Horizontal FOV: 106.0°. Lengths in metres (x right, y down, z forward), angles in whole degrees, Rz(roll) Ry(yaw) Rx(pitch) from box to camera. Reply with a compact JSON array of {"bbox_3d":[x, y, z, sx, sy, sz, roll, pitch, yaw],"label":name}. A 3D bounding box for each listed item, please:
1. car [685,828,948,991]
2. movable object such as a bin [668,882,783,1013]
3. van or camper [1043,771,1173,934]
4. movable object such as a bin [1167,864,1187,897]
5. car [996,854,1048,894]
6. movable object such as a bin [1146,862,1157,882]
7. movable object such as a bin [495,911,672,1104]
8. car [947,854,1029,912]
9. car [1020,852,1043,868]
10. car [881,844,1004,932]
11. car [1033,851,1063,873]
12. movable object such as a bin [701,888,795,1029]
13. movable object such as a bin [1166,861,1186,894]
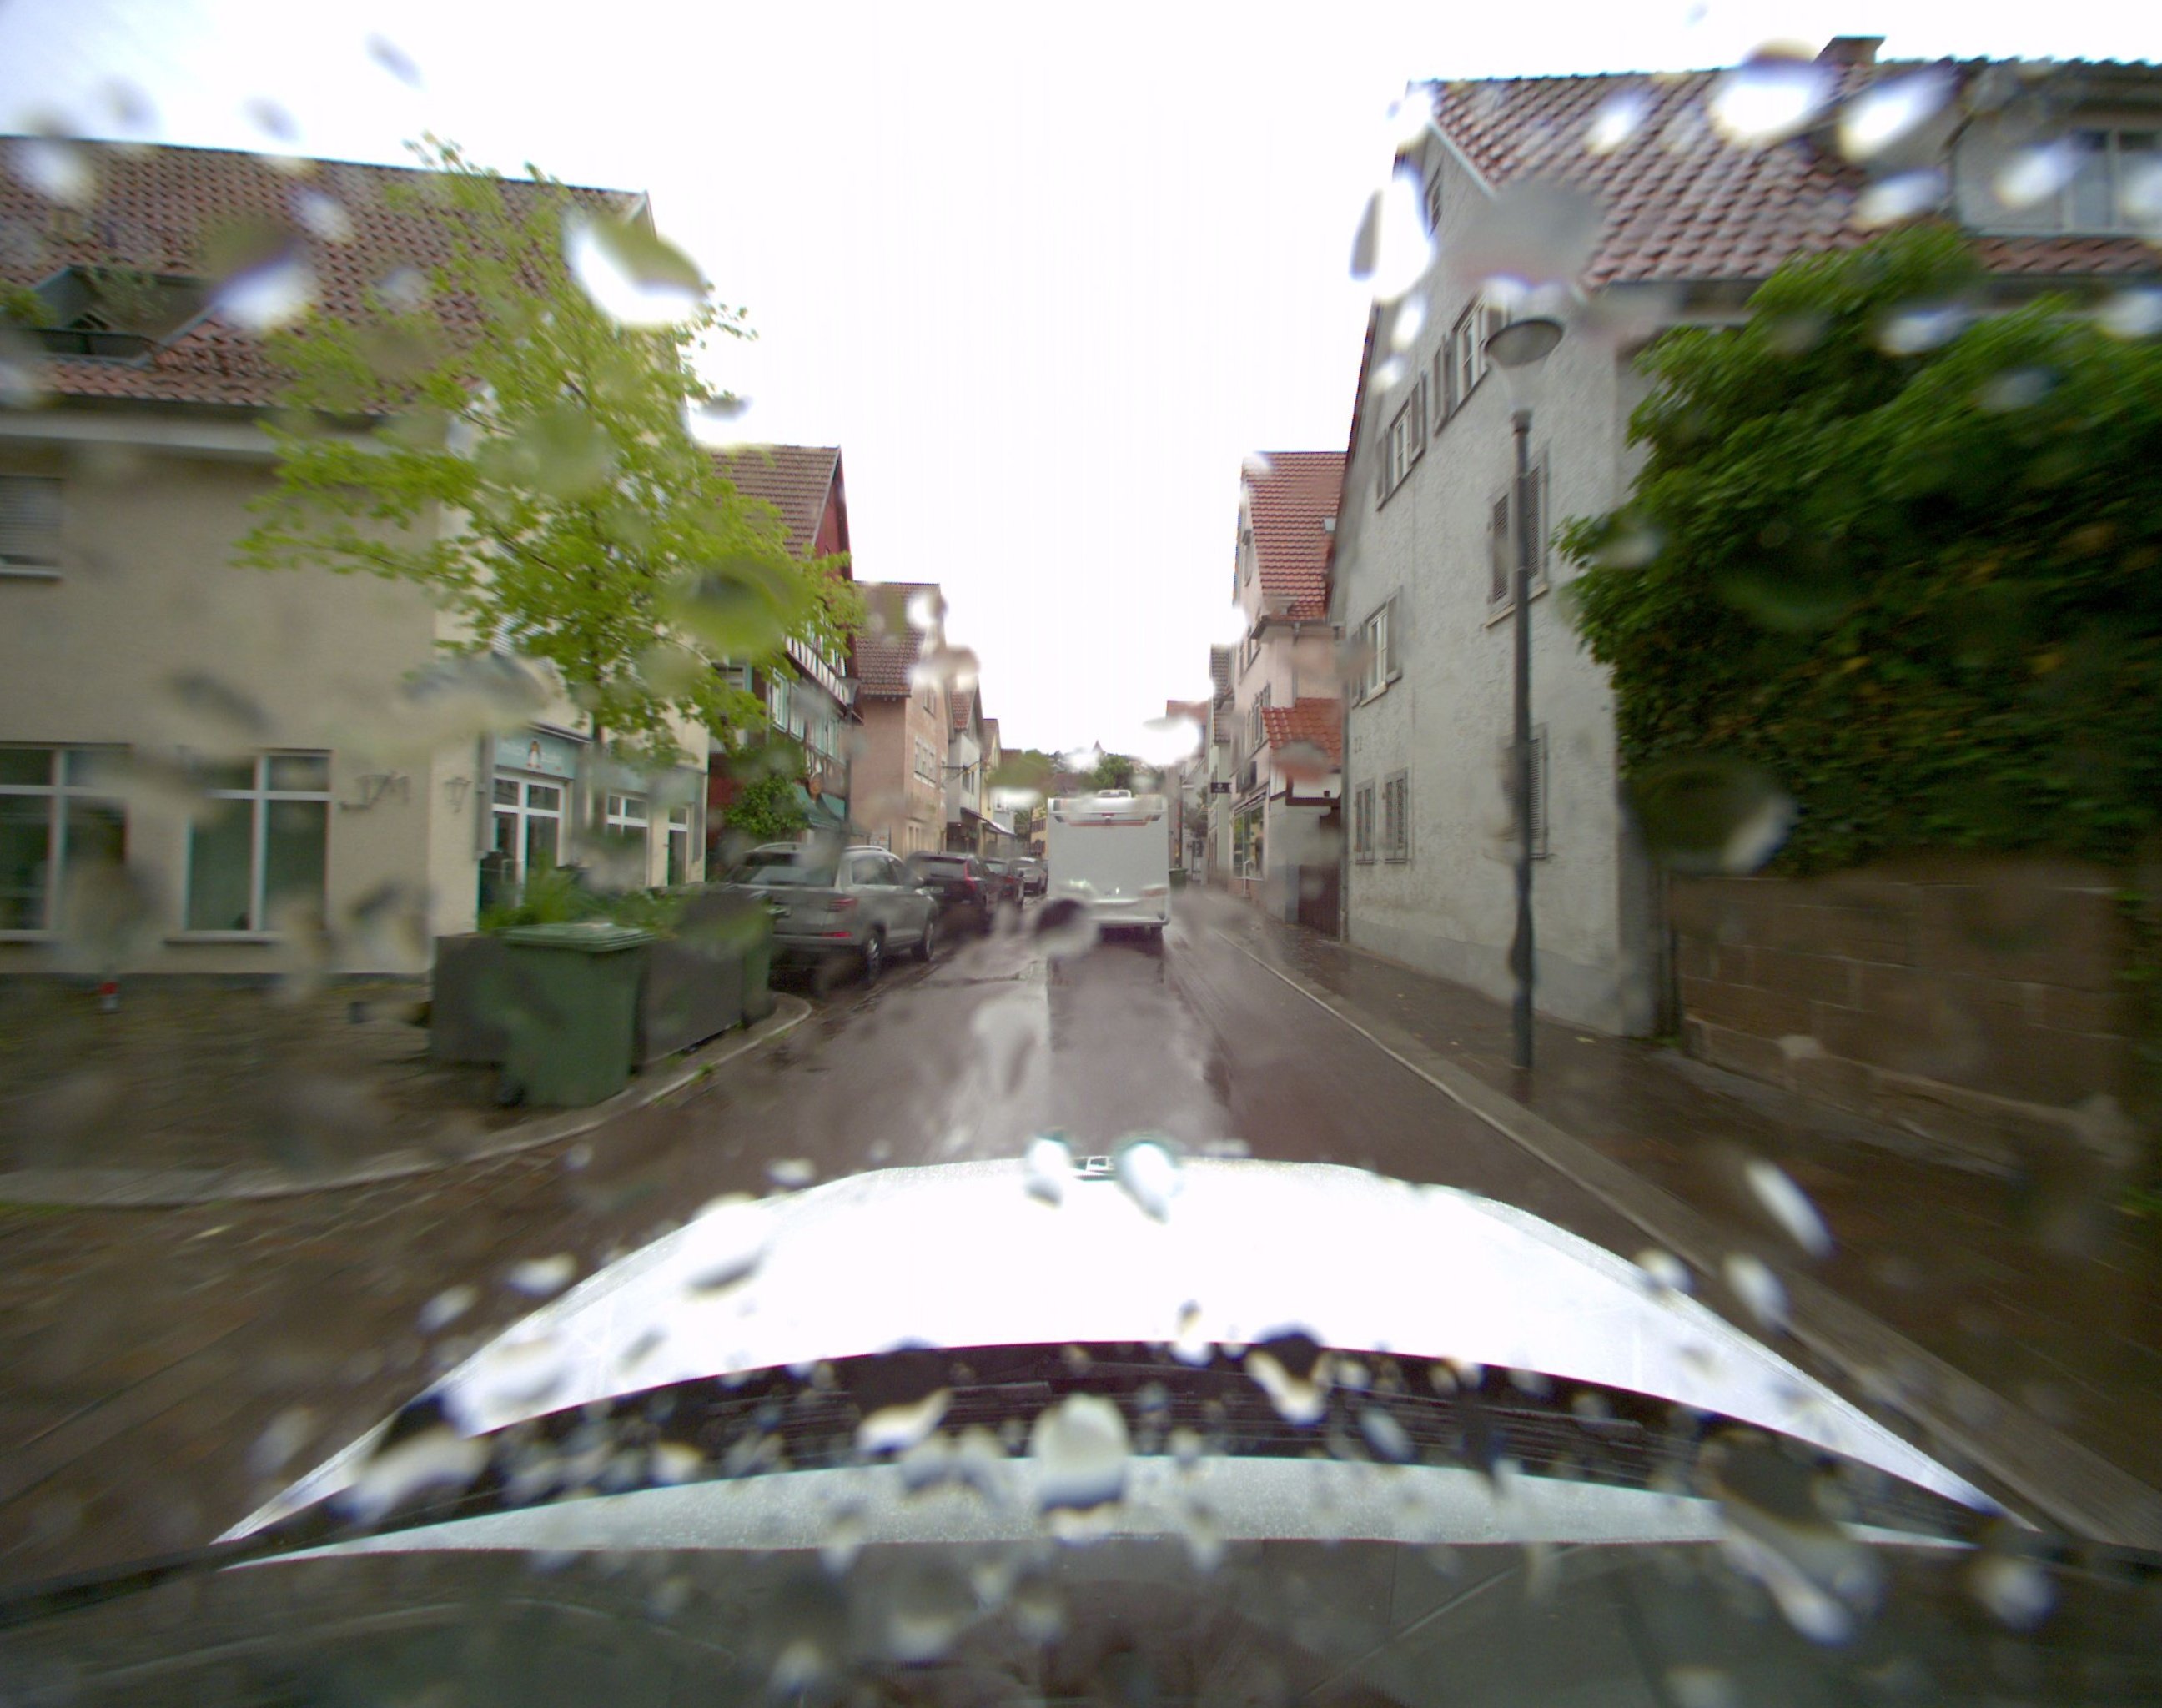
[{"bbox_3d":[-3.177,0.632,10.897,1.764,1.675,4.483,1,-1,3],"label":"car"},{"bbox_3d":[-3.436,0.876,7.927,0.741,1.201,0.749,0,-1,3],"label":"movable object such as a bin"},{"bbox_3d":[0.448,0.033,17.819,2.319,2.919,6.389,0,-1,-1],"label":"van or camper"},{"bbox_3d":[3.529,0.980,29.949,0.715,1.201,0.573,0,-2,3],"label":"movable object such as a bin"},{"bbox_3d":[-2.461,0.847,34.679,1.820,1.566,4.001,0,-1,1],"label":"car"},{"bbox_3d":[4.452,1.130,51.678,0.656,1.239,0.621,0,-2,1],"label":"movable object such as a bin"},{"bbox_3d":[-3.085,0.918,5.116,0.618,1.079,0.726,0,-1,3],"label":"movable object such as a bin"},{"bbox_3d":[-2.640,0.836,24.038,1.827,1.552,4.282,0,-1,1],"label":"car"},{"bbox_3d":[-6.208,0.783,101.907,1.998,2.014,3.977,1,-1,-16],"label":"car"},{"bbox_3d":[-2.865,0.699,17.906,1.827,1.675,4.540,0,-1,1],"label":"car"},{"bbox_3d":[-2.342,0.559,56.619,1.989,1.472,3.995,1,0,-4],"label":"car"},{"bbox_3d":[-2.996,0.919,7.361,0.599,1.201,0.524,0,-2,5],"label":"movable object such as a bin"},{"bbox_3d":[3.566,0.884,30.533,0.715,1.201,0.579,0,-2,3],"label":"movable object such as a bin"}]
